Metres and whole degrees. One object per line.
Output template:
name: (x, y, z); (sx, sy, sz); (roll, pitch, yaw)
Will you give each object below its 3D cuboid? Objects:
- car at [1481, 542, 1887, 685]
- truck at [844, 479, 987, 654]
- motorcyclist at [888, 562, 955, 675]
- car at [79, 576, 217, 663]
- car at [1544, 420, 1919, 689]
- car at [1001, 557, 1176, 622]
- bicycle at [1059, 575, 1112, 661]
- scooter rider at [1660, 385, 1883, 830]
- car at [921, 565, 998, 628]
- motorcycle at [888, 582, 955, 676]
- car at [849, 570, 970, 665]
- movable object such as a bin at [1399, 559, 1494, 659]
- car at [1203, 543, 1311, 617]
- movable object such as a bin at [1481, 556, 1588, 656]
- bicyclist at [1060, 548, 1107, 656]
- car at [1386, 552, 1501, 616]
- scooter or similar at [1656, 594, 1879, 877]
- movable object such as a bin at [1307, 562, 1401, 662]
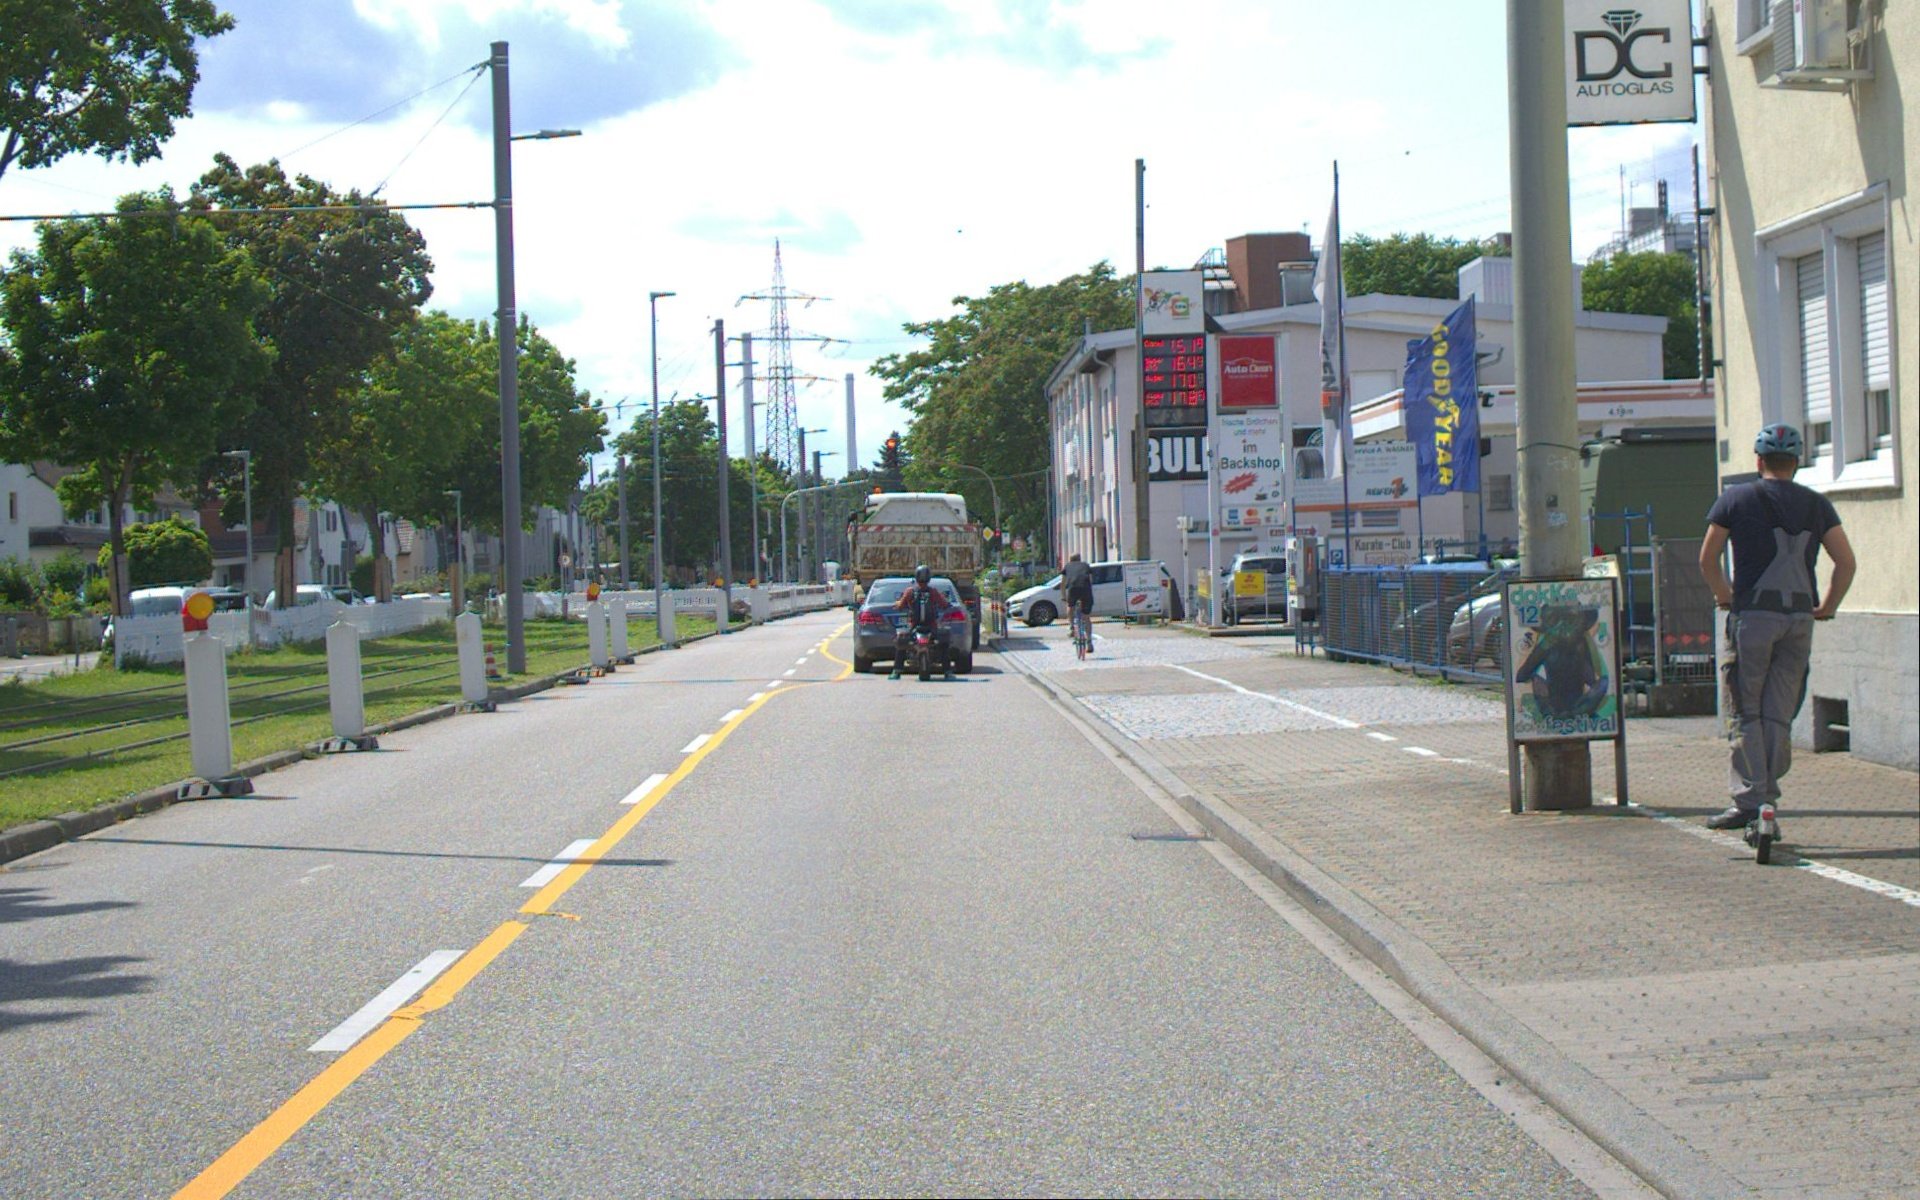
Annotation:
car: (7.912, 0.148, 37.907); (4.184, 1.426, 1.820); (-2, 0, 7)
truck: (-0.844, -0.761, 70.212); (2.610, 3.244, 9.182); (-2, 2, 0)
motorcyclist: (-0.553, 0.260, 49.614); (0.939, 1.609, 1.205); (1, 0, -1)
car: (-17.417, 0.420, 73.870); (1.993, 1.744, 4.000); (-2, 0, -1)
car: (8.428, -0.472, 35.084); (4.537, 2.564, 2.151); (-2, 0, 1)
car: (3.406, -0.269, 91.663); (4.329, 1.546, 1.950); (-2, 0, -8)
bicycle: (2.044, 0.279, 56.290); (0.693, 1.357, 2.418); (-2, 1, -1)
scooter rider: (3.728, 0.023, 15.841); (0.717, 1.956, 0.785); (-4, 2, 1)
car: (-0.019, -0.101, 83.467); (1.821, 1.459, 4.000); (-1, 1, 0)
motorcycle: (-0.559, 0.412, 49.795); (0.939, 1.316, 2.645); (1, 0, -1)
car: (-0.783, 0.243, 54.268); (1.821, 1.419, 4.000); (-1, 1, -1)
movable object such as a bin: (7.298, 0.135, 51.609); (1.256, 1.439, 0.824); (-2, 0, 0)
car: (6.968, -0.452, 81.081); (1.959, 1.643, 4.000); (-2, 0, -3)
movable object such as a bin: (8.624, 0.095, 51.639); (1.320, 1.439, 0.955); (-2, 0, -7)
bicyclist: (2.021, 0.033, 56.293); (0.671, 1.738, 0.813); (-1, 0, -1)
car: (11.479, -0.367, 81.809); (1.959, 1.415, 4.000); (-2, 0, -3)
scooter or similar: (3.644, 0.584, 15.621); (0.540, 1.191, 1.611); (-3, 0, -1)
movable object such as a bin: (5.920, 0.176, 51.716); (1.256, 1.439, 0.824); (-2, 0, 0)
